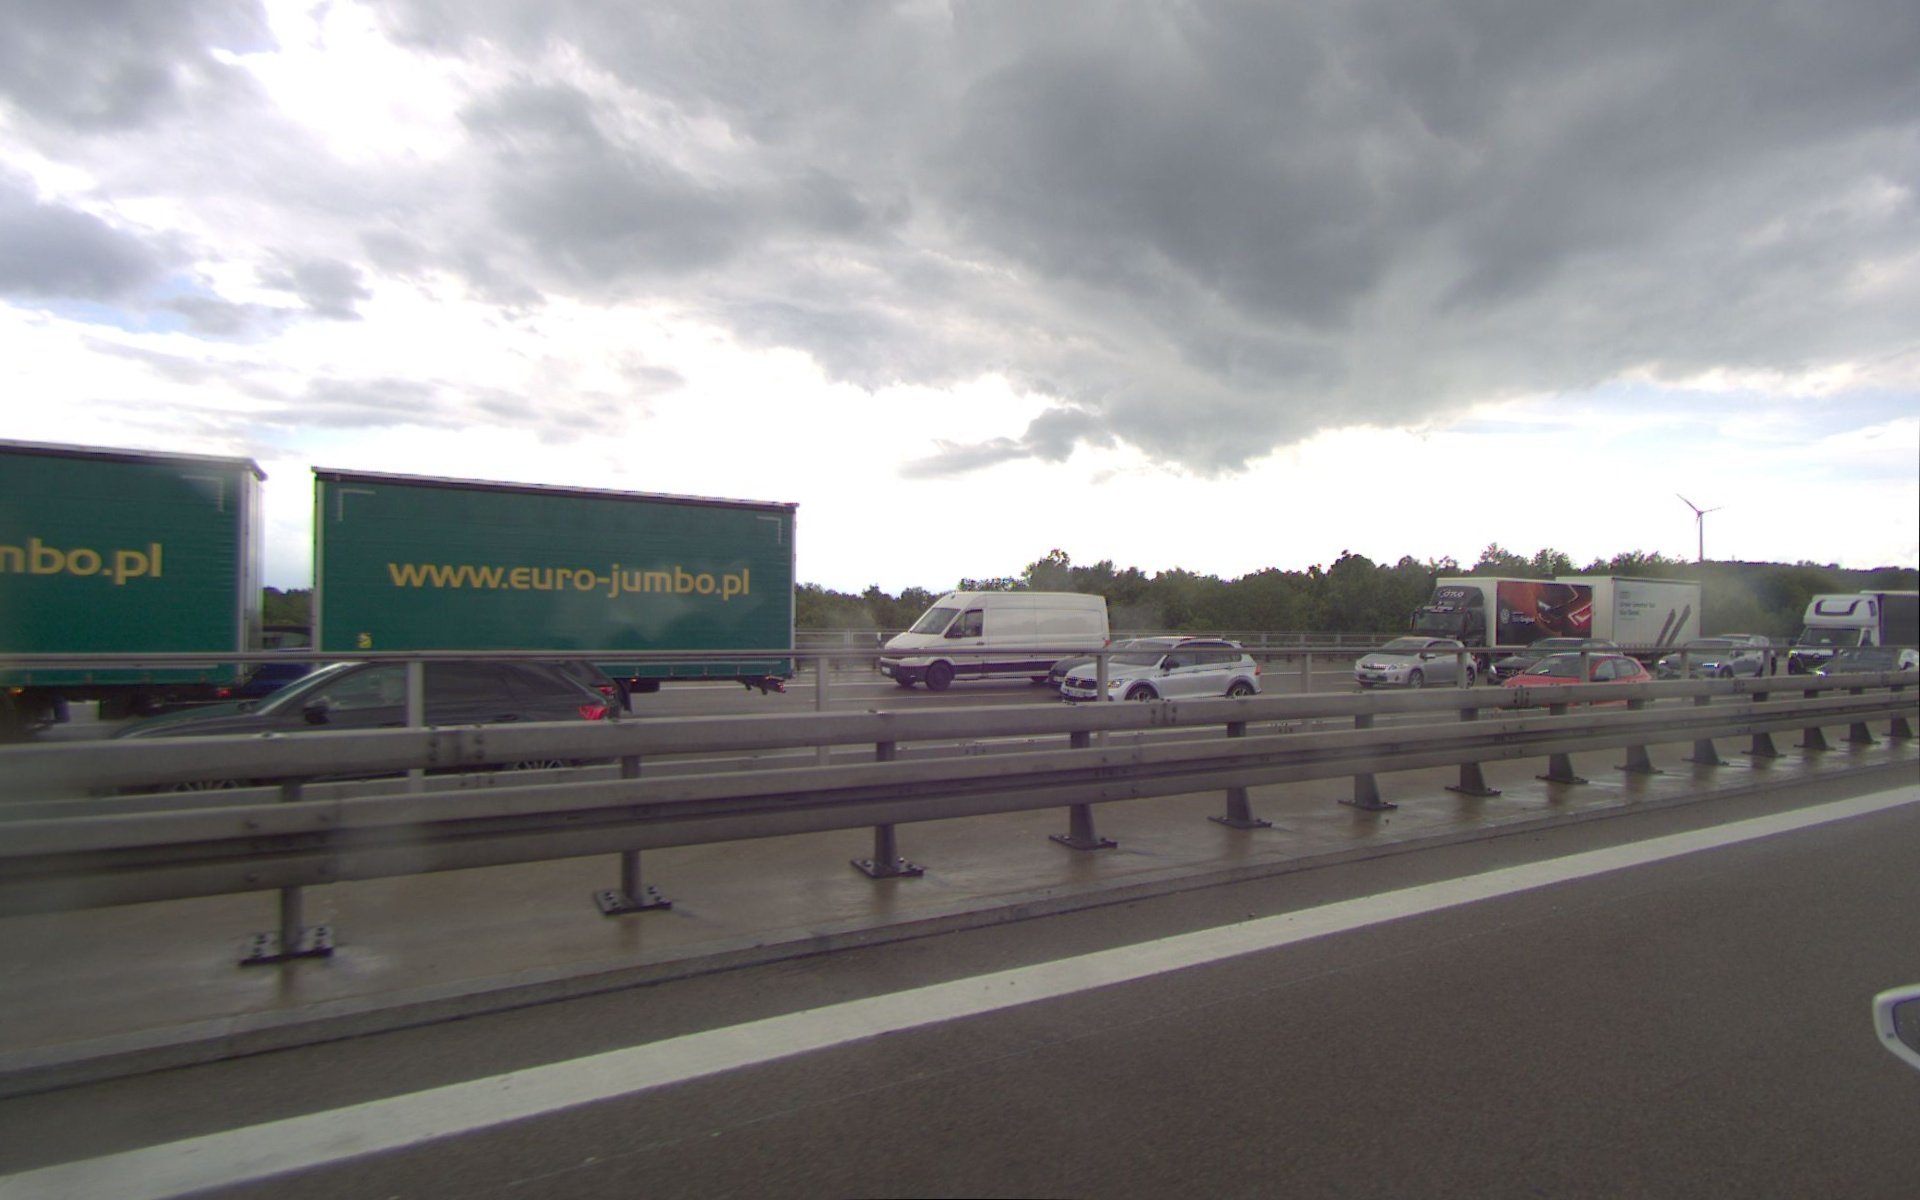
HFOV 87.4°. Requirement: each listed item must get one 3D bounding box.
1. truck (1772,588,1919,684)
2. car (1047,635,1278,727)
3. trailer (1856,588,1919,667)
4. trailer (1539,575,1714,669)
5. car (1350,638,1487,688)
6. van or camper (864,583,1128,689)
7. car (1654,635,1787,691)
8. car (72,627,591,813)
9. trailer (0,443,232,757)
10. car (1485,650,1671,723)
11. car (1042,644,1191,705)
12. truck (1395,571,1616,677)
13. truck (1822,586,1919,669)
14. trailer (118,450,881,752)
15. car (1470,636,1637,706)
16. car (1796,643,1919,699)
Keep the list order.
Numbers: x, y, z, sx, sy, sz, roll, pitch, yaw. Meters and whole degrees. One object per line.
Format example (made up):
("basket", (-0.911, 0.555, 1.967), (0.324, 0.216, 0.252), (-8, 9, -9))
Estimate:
("truck", (35.202, 1.389, 39.325), (8.440, 3.444, 2.507), (1, -1, -30))
("car", (4.153, 1.548, 20.307), (4.729, 1.646, 1.753), (1, -1, -33))
("trailer", (53.539, 1.521, 54.710), (12.863, 3.986, 3.228), (1, 0, -30))
("trailer", (30.832, 0.998, 46.346), (8.746, 4.012, 3.203), (1, 0, -30))
("car", (13.775, 1.835, 30.129), (4.168, 1.372, 1.660), (1, -1, -30))
("van or camper", (1.116, 0.971, 27.718), (7.280, 2.612, 2.232), (1, -1, -31))
("car", (25.036, 2.011, 33.030), (4.996, 1.722, 1.711), (1, -1, -30))
("car", (-5.865, 1.023, 9.872), (3.953, 1.471, 1.823), (1, -1, -30))
("trailer", (-14.051, -0.030, 13.790), (6.241, 4.083, 2.821), (1, 0, -31))
("car", (13.291, 1.792, 21.533), (4.333, 1.372, 1.565), (1, -1, -30))
("car", (3.825, 1.770, 24.528), (3.392, 1.351, 1.565), (1, -1, -30))
("truck", (22.679, 0.986, 41.537), (10.161, 3.962, 3.210), (1, 0, -30))
("truck", (47.614, 1.379, 51.305), (7.485, 3.986, 3.184), (1, 0, -30))
("trailer", (-7.200, 0.118, 17.831), (11.468, 4.115, 2.804), (1, 0, -31))
("car", (16.233, 1.857, 27.386), (5.044, 1.750, 1.711), (1, -1, -30))
("car", (27.670, 2.108, 30.565), (5.438, 1.522, 1.711), (1, -1, -30))
